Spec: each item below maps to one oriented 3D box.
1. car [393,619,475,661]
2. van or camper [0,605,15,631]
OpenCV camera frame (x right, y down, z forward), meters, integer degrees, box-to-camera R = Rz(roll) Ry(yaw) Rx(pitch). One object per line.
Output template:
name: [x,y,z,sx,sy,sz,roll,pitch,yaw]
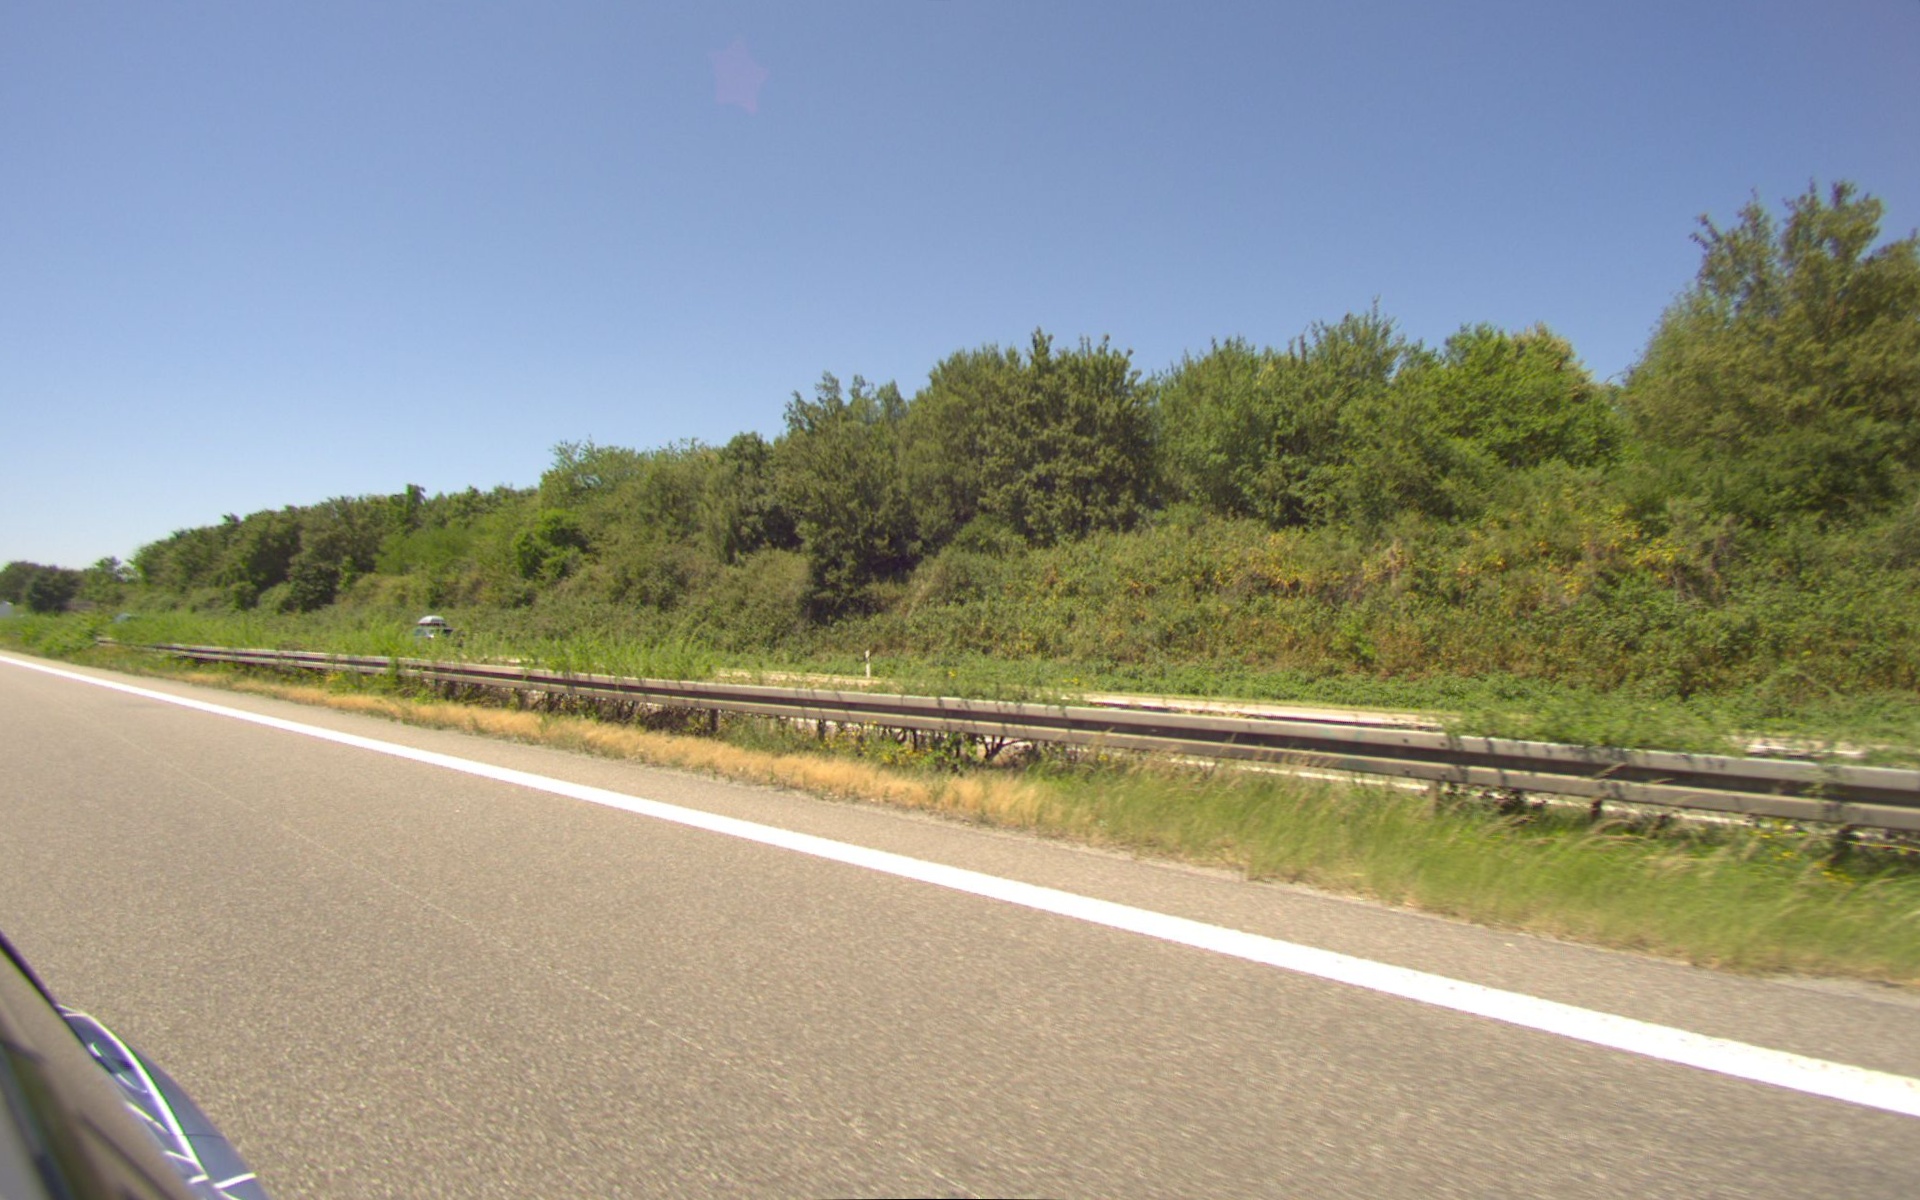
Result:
car: [-24.964,1.862,48.004,4.300,1.929,1.973,-1,-2,40]
van or camper: [-92.313,1.742,96.568,6.332,2.383,2.400,-1,0,40]
